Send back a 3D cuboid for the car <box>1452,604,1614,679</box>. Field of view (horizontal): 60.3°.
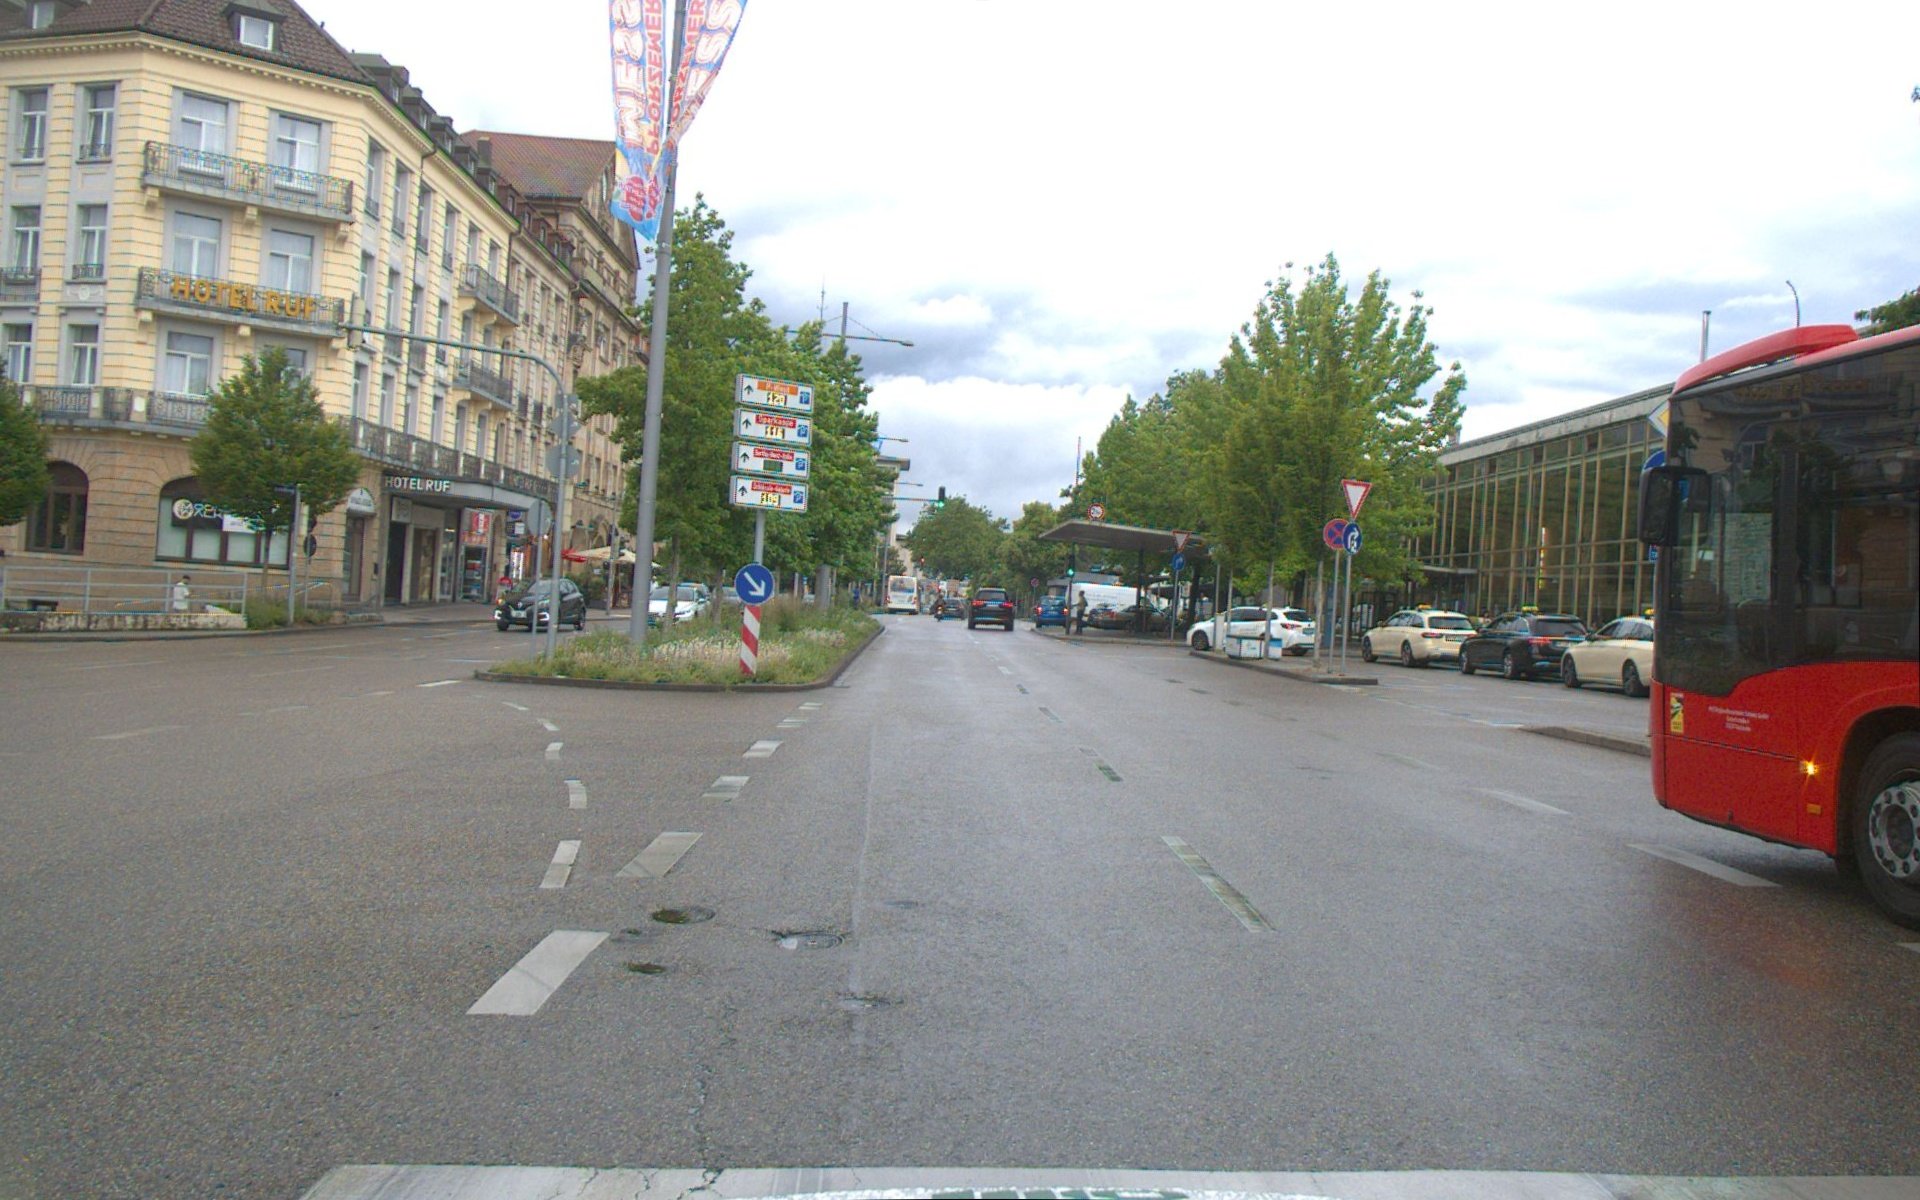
[{"bbox_3d":[13.052,0.890,37.994,1.875,1.551,4.740,1,0,-3],"label":"car"}]

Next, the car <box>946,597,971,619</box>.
[{"bbox_3d":[-0.128,0.537,114.405,1.673,1.473,3.999,1,0,-1],"label":"car"}]

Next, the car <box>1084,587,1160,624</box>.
[{"bbox_3d":[9.480,0.322,96.782,3.929,2.049,1.988,1,0,-21],"label":"car"}]

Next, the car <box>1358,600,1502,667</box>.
[{"bbox_3d":[12.552,0.856,44.471,1.956,1.628,4.814,1,0,-8],"label":"car"}]

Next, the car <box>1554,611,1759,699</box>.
[{"bbox_3d":[13.243,0.994,31.774,1.809,1.477,4.664,1,0,-2],"label":"car"}]

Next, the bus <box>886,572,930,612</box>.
[{"bbox_3d":[-4.737,-0.699,149.047,3.685,3.265,15.518,1,0,-2],"label":"bus"}]

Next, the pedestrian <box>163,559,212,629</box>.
[{"bbox_3d":[-21.553,-0.160,46.145,0.845,1.911,1.022,2,0,-1],"label":"pedestrian"}]

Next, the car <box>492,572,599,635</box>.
[{"bbox_3d":[-12.289,0.061,49.269,1.734,1.556,4.083,3,3,6],"label":"car"}]

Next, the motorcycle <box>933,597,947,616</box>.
[{"bbox_3d":[-1.174,0.366,96.598,0.750,1.095,2.175,2,0,-1],"label":"motorcycle"}]

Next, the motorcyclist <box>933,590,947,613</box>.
[{"bbox_3d":[-1.177,0.091,96.711,0.749,1.355,0.866,2,0,-1],"label":"motorcyclist"}]

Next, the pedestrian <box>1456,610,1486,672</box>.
[{"bbox_3d":[14.779,1.186,47.825,0.553,1.739,0.715,2,0,-6],"label":"pedestrian"}]

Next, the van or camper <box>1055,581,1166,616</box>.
[{"bbox_3d":[9.406,-0.074,102.968,6.675,2.049,2.364,1,-1,-27],"label":"van or camper"}]

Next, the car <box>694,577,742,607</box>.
[{"bbox_3d":[-12.338,-0.396,84.572,1.718,1.466,4.060,1,0,1],"label":"car"}]

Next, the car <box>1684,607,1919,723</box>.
[{"bbox_3d":[13.373,0.951,26.057,1.739,1.617,4.614,1,0,-2],"label":"car"}]

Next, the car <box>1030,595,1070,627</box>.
[{"bbox_3d":[4.623,0.553,85.454,1.779,1.557,3.999,1,0,-1],"label":"car"}]

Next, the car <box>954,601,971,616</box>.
[{"bbox_3d":[0.245,0.869,171.188,1.673,1.500,3.999,1,0,-1],"label":"car"}]

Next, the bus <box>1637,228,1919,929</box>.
[{"bbox_3d":[5.875,-0.069,5.358,2.688,3.229,10.189,1,0,-3],"label":"bus"}]

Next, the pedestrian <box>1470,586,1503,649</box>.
[{"bbox_3d":[17.396,0.560,54.665,0.754,2.049,0.828,1,0,-3],"label":"pedestrian"}]

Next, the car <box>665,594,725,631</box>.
[{"bbox_3d":[-11.263,0.515,70.548,1.596,1.502,4.028,1,0,4],"label":"car"}]

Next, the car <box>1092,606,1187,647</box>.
[{"bbox_3d":[8.944,1.313,82.389,4.273,1.890,1.988,2,0,-21],"label":"car"}]

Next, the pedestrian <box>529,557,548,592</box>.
[{"bbox_3d":[-19.000,-1.136,74.520,0.656,1.537,0.512,2,0,-39],"label":"pedestrian"}]

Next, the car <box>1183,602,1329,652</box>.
[{"bbox_3d":[9.112,0.819,51.156,1.764,1.409,4.303,1,0,-41],"label":"car"}]

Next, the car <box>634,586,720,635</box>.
[{"bbox_3d":[-8.772,0.310,51.576,1.688,1.406,4.860,1,0,2],"label":"car"}]

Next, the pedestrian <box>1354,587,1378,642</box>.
[{"bbox_3d":[18.161,0.642,74.017,0.825,2.453,0.862,1,0,1],"label":"pedestrian"}]

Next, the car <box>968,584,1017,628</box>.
[{"bbox_3d":[1.408,0.256,73.685,1.953,1.837,4.689,1,0,-1],"label":"car"}]

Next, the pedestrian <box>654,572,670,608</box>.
[{"bbox_3d":[-14.880,-0.499,82.715,0.661,1.731,0.633,1,0,-1],"label":"pedestrian"}]

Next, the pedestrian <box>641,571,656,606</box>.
[{"bbox_3d":[-15.578,-0.579,82.697,0.563,1.762,0.609,2,0,-1],"label":"pedestrian"}]

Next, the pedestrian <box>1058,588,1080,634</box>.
[{"bbox_3d":[4.392,0.453,66.616,0.705,1.822,0.663,2,0,-12],"label":"pedestrian"}]

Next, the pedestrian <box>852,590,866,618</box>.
[{"bbox_3d":[-6.351,0.260,104.101,0.742,1.730,0.560,2,0,6],"label":"pedestrian"}]
